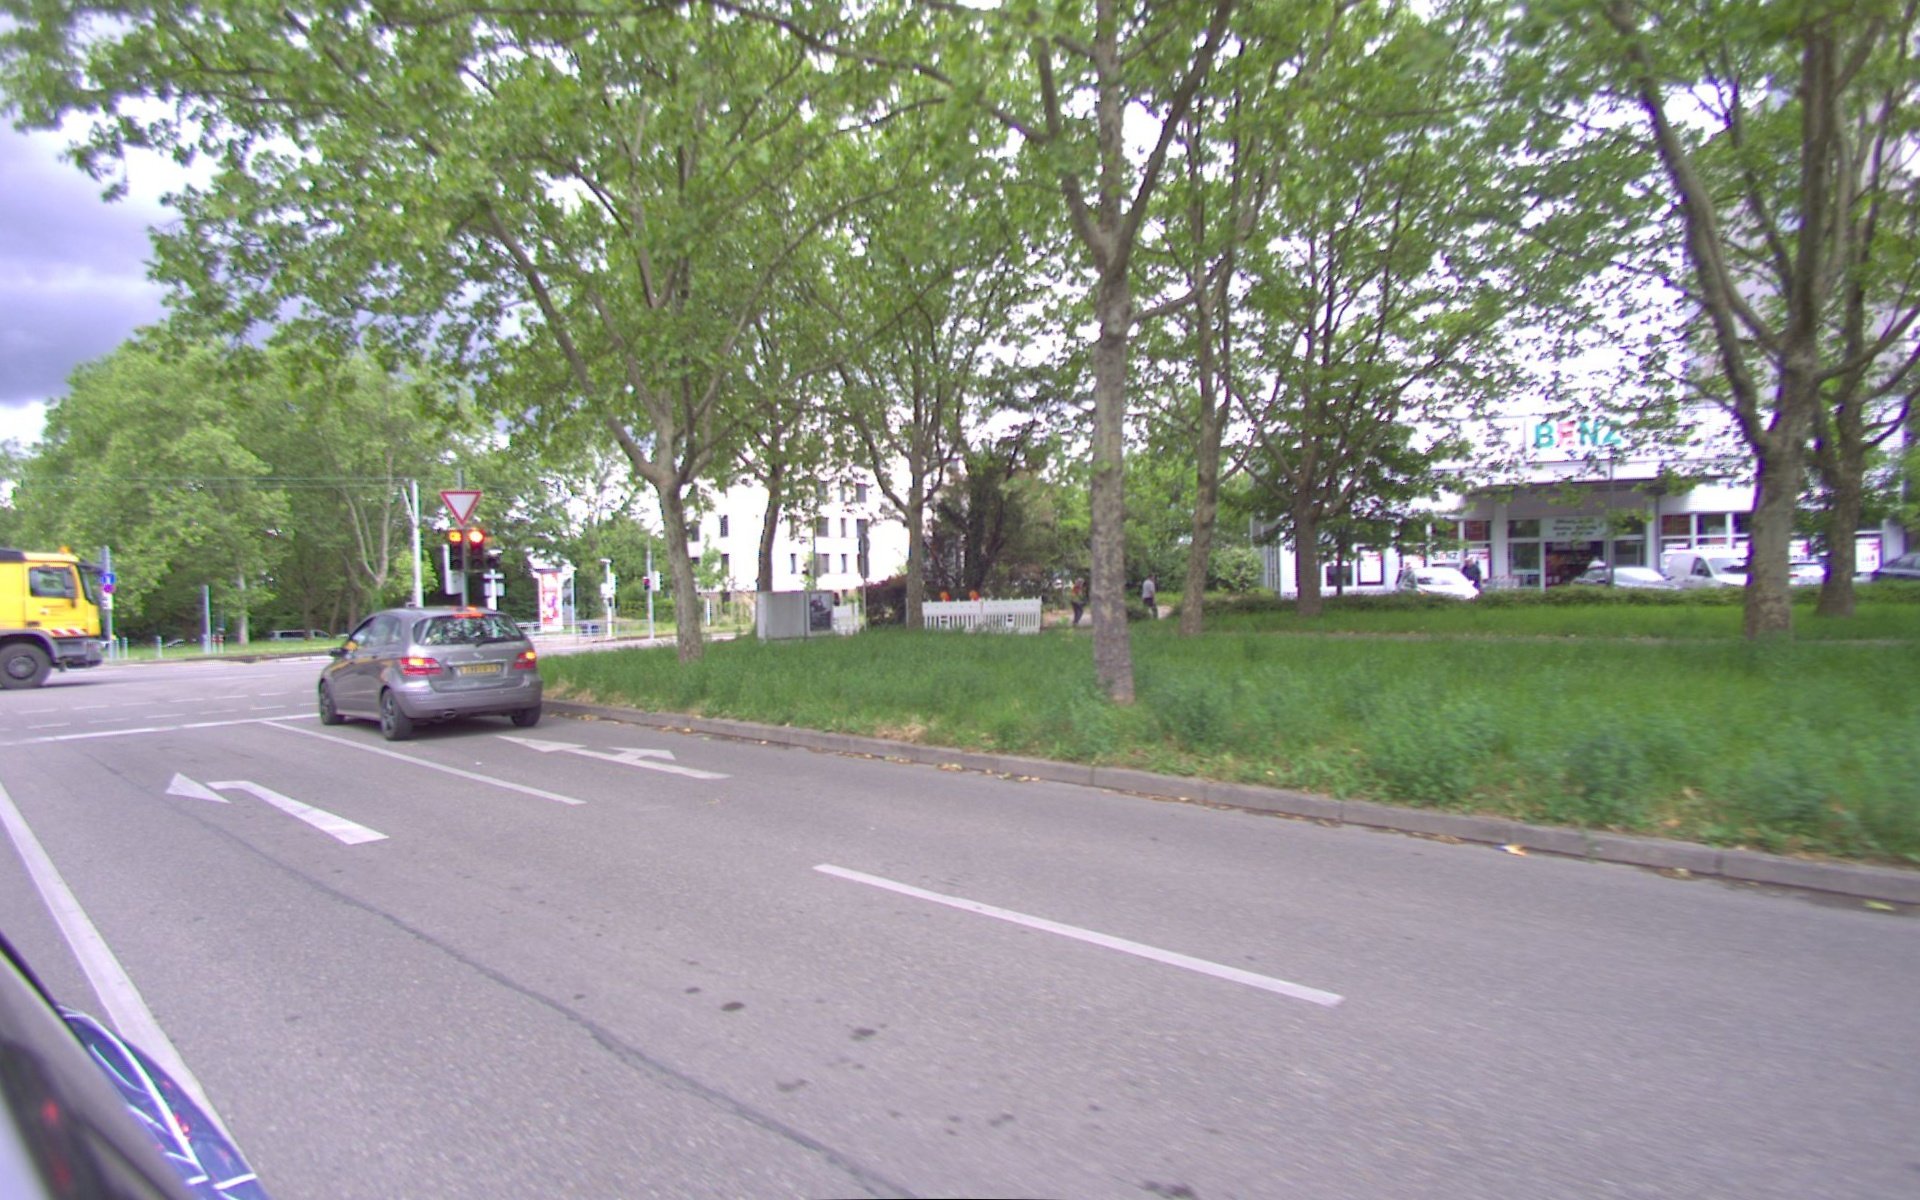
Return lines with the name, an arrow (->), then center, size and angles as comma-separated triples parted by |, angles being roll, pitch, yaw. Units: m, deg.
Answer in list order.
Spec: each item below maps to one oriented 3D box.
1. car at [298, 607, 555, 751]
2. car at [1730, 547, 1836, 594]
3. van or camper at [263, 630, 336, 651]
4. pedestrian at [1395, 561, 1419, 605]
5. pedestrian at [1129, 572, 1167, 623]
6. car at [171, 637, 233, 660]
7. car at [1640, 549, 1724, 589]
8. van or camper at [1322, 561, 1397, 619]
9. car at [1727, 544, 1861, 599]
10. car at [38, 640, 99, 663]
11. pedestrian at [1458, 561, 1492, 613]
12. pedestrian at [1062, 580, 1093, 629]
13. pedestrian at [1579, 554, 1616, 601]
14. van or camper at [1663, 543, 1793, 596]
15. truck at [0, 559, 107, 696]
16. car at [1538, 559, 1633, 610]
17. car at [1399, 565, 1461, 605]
car -> -7.291, 0.948, 13.613 | 4.412, 1.598, 1.747 | -2, -1, 44
car -> 31.525, -1.115, 38.888 | 1.657, 1.646, 3.805 | -1, 1, 14
van or camper -> -56.136, 3.425, 86.080 | 1.865, 1.545, 4.934 | -3, 0, 44
pedestrian -> 18.226, -0.702, 41.294 | 0.611, 1.758, 0.739 | -1, -1, 0
pedestrian -> 5.997, -0.082, 32.289 | 0.838, 1.598, 0.797 | -1, -1, -41
car -> -60.696, 3.870, 81.086 | 1.665, 1.674, 3.732 | -2, -1, 43
car -> 28.393, -1.177, 39.920 | 1.470, 1.415, 3.394 | -1, -1, 13
van or camper -> 12.879, -0.304, 32.827 | 1.830, 1.696, 3.978 | -2, 0, 17
car -> 24.895, -0.792, 30.377 | 1.470, 1.476, 3.875 | -1, -1, 13
car -> -70.456, 4.040, 80.063 | 3.540, 1.548, 1.877 | -2, 0, -39
pedestrian -> 16.351, -0.411, 32.125 | 0.794, 1.598, 0.790 | -2, -1, 36
pedestrian -> 3.803, 0.153, 32.743 | 0.644, 1.550, 0.775 | -1, -1, -27
pedestrian -> 26.841, -0.936, 42.620 | 1.076, 1.885, 1.044 | -2, -1, 45
van or camper -> 22.422, -0.848, 29.721 | 1.502, 1.367, 3.762 | -1, -1, 11
truck -> -23.642, 0.658, 21.965 | 7.664, 3.026, 2.731 | -1, -1, -45
car -> 18.969, -0.434, 30.829 | 1.471, 1.415, 3.392 | -1, -1, 15
car -> 19.097, -0.564, 41.261 | 1.719, 1.511, 4.244 | -1, -1, 18
